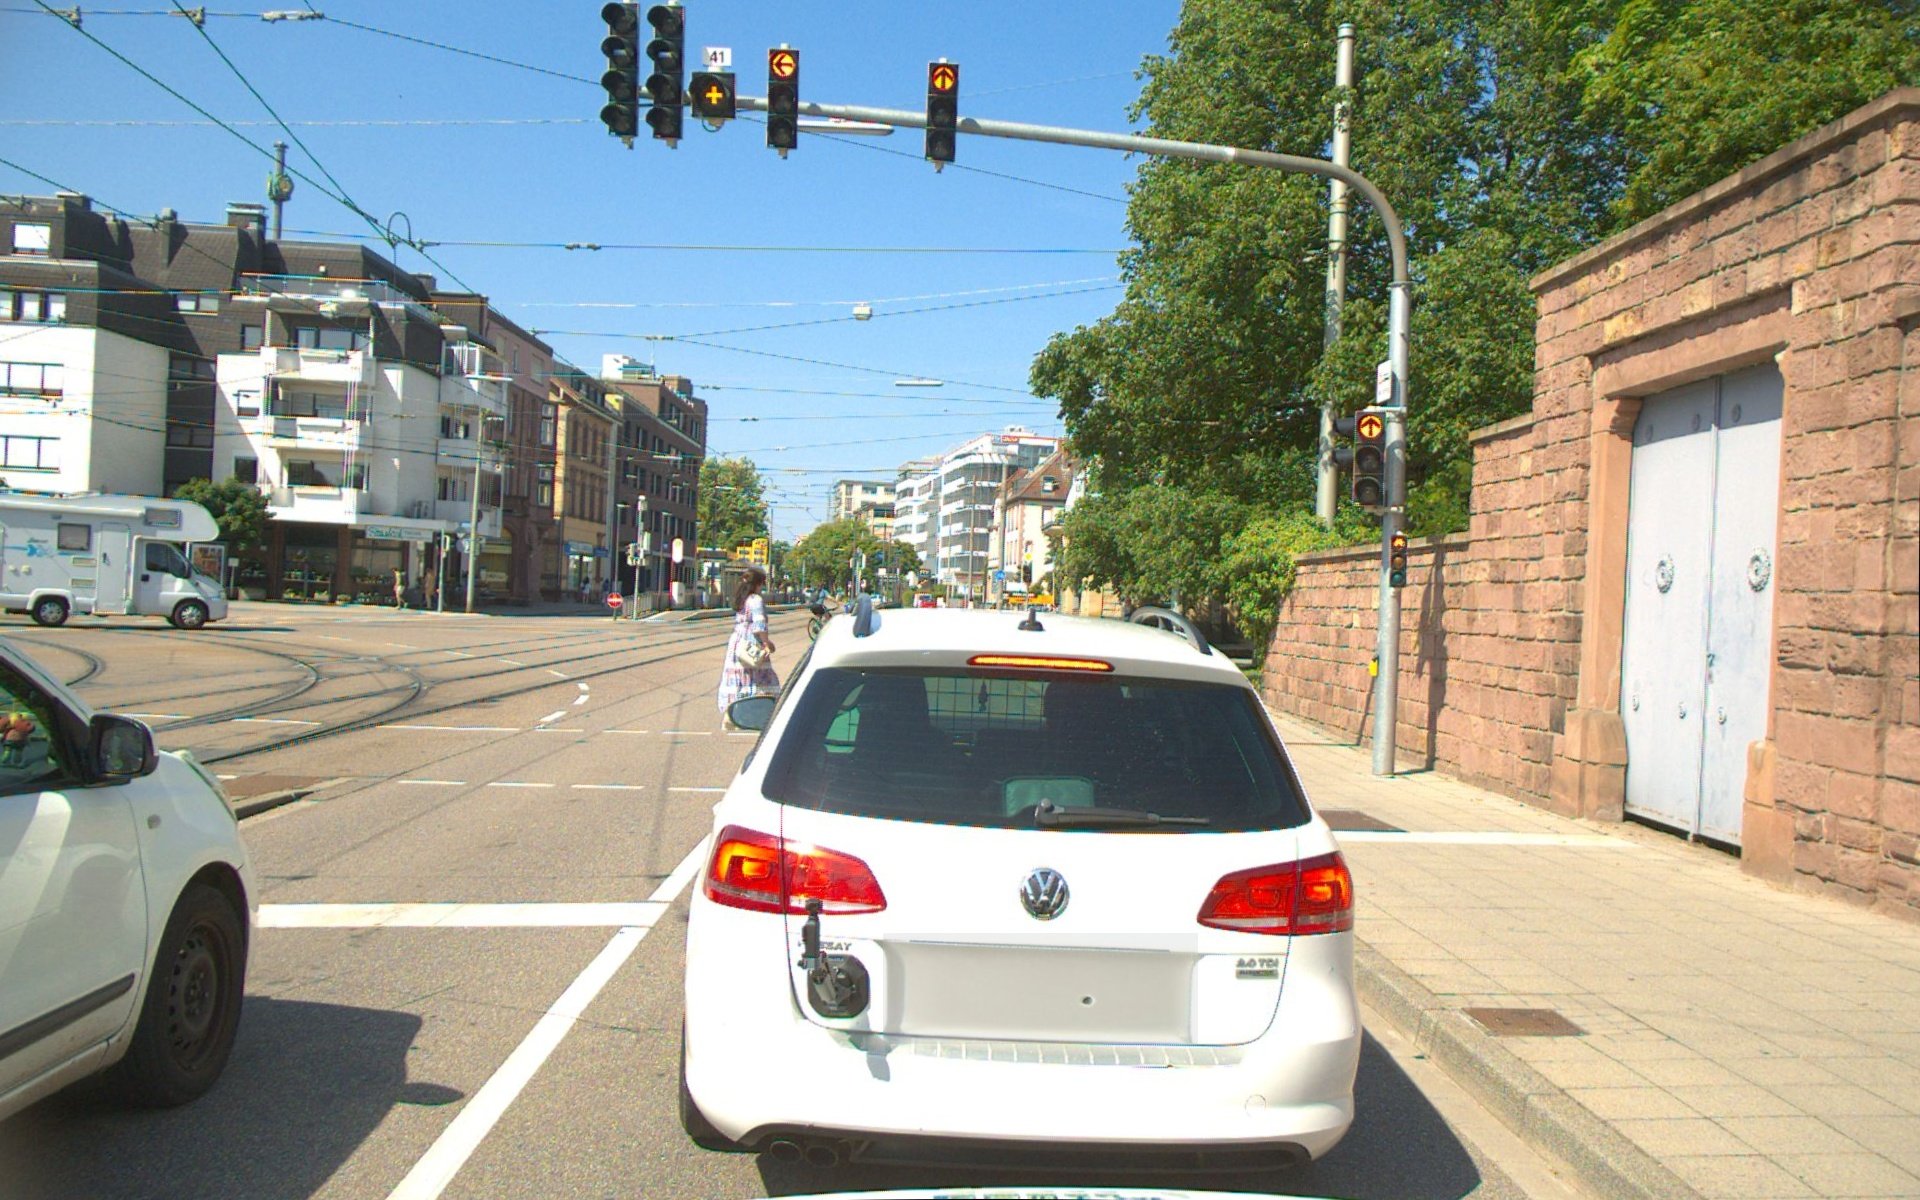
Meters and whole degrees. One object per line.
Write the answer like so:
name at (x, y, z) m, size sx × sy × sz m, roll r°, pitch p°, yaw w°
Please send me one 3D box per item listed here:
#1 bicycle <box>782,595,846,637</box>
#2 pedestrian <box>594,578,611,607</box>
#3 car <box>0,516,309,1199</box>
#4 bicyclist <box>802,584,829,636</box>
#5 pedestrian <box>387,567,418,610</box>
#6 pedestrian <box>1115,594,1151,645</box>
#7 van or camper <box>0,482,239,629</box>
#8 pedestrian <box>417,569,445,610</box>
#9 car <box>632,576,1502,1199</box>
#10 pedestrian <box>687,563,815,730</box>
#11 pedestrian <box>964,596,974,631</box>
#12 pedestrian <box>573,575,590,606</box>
bicycle at (-4.610, 0.516, 52.453) m, size 0.550 × 1.320 × 2.235 m, roll -1°, pitch -1°, yaw 42°
pedestrian at (-21.737, -0.454, 100.564) m, size 0.845 × 1.773 × 0.973 m, roll 1°, pitch -1°, yaw -6°
car at (-2.840, 0.612, 3.325) m, size 1.608 × 1.593 × 3.803 m, roll 1°, pitch 1°, yaw -1°
bicyclist at (-4.585, 0.330, 52.487) m, size 0.553 × 1.641 × 0.634 m, roll -1°, pitch -1°, yaw 42°
pedestrian at (-23.381, -0.467, 69.328) m, size 0.966 × 1.773 × 0.851 m, roll 1°, pitch -1°, yaw -41°
pedestrian at (5.985, 0.677, 57.310) m, size 0.954 × 1.773 × 0.862 m, roll 0°, pitch -1°, yaw 33°
van or camper at (-19.806, -0.941, 37.932) m, size 5.635 × 3.147 × 2.544 m, roll 1°, pitch -1°, yaw -35°
pedestrian at (-22.947, -0.438, 71.730) m, size 0.963 × 1.773 × 0.855 m, roll 1°, pitch -1°, yaw -33°
car at (0.189, 0.709, 5.433) m, size 1.771 × 1.473 × 3.999 m, roll 2°, pitch 0°, yaw -1°
pedestrian at (-2.187, 0.475, 17.308) m, size 0.967 × 1.680 × 0.941 m, roll 1°, pitch -1°, yaw -43°
pedestrian at (0.595, 0.908, 113.437) m, size 0.675 × 2.366 × 1.232 m, roll 0°, pitch -1°, yaw 0°
pedestrian at (-21.549, -0.545, 94.203) m, size 0.845 × 1.773 × 0.973 m, roll 1°, pitch -1°, yaw -6°
